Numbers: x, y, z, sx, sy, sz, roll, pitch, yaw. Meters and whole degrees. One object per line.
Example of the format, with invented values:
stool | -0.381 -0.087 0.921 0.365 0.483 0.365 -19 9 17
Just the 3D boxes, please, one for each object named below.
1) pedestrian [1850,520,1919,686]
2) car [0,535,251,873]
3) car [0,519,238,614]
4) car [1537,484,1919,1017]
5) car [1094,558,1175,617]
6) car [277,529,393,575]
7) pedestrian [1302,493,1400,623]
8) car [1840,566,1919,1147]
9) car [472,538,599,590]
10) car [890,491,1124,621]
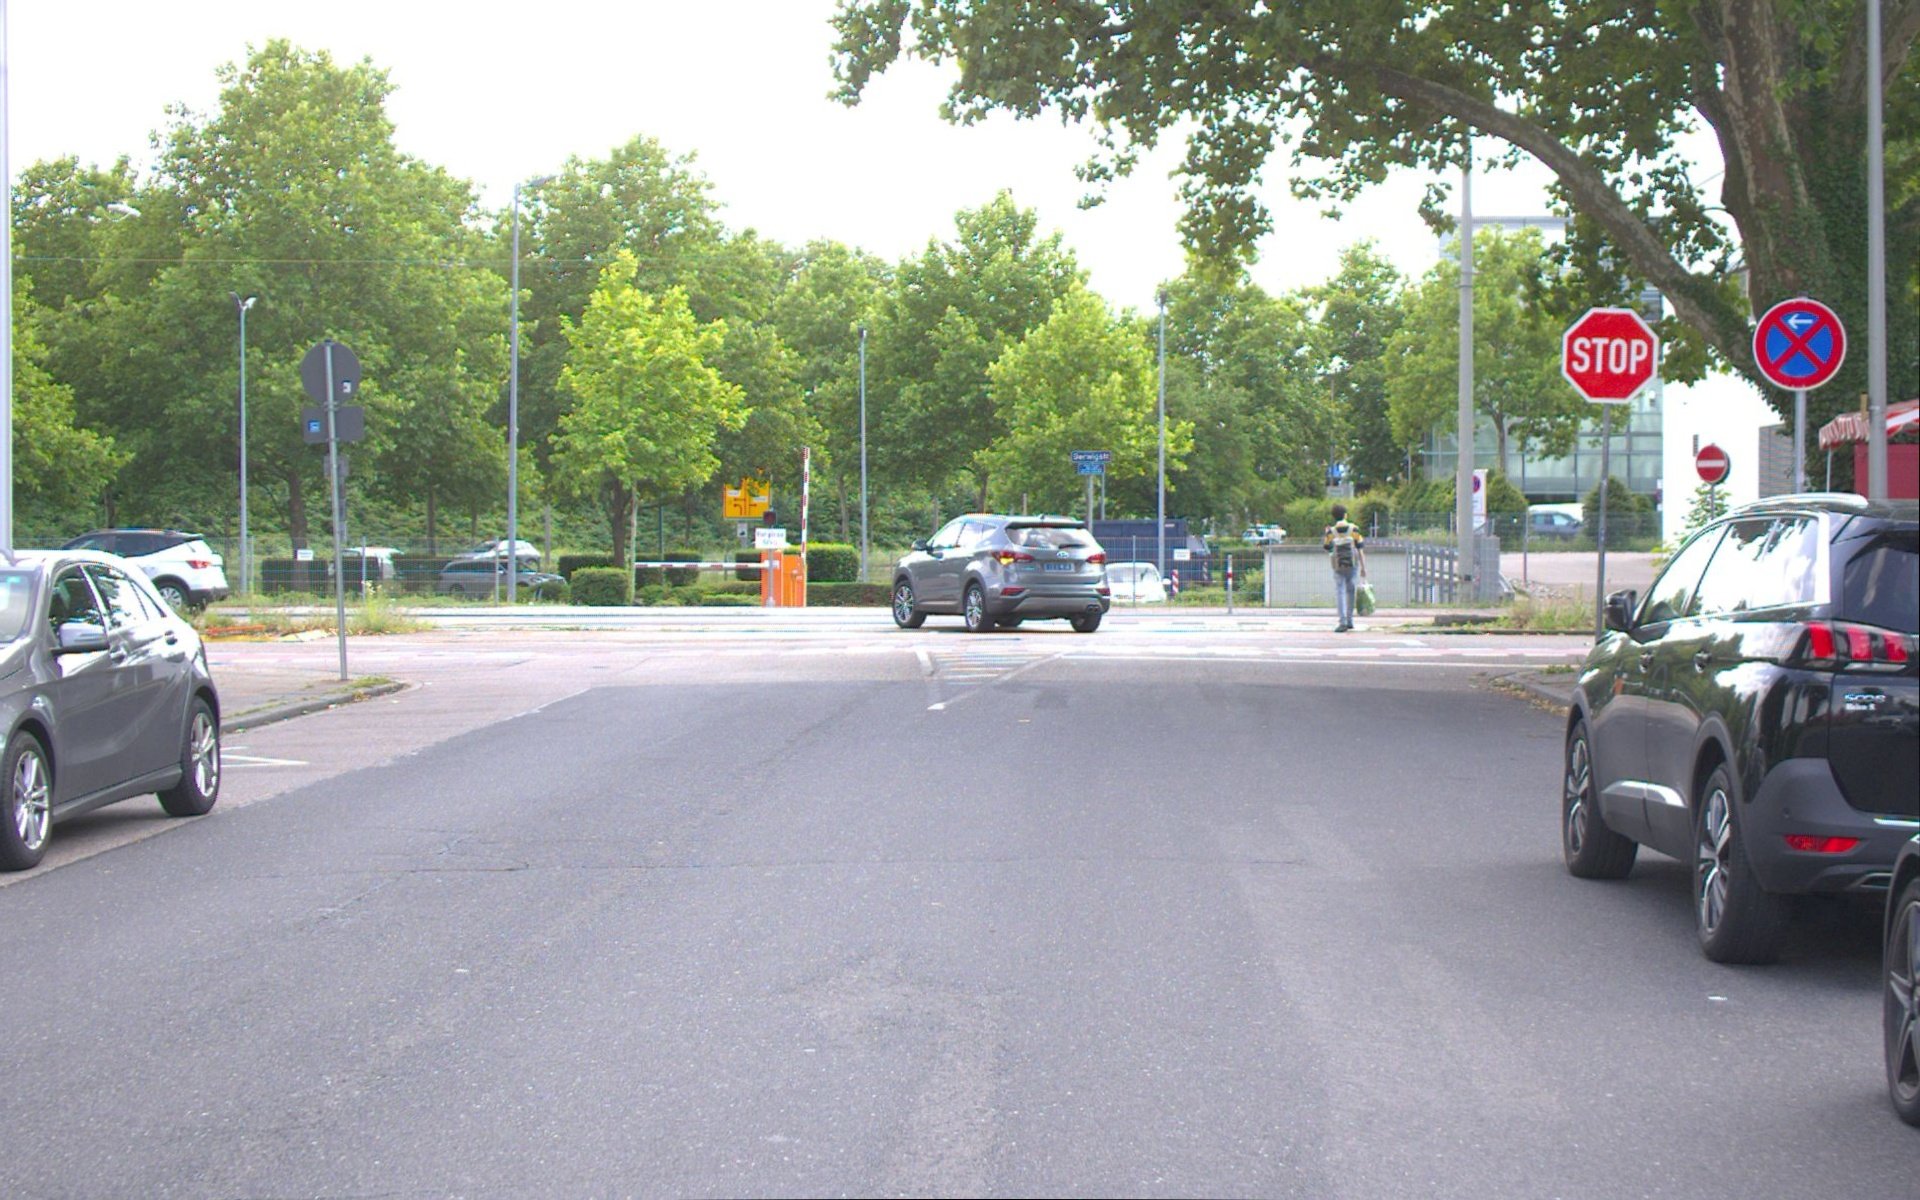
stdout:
pedestrian | 7.753 0.019 27.761 1.014 1.309 0.964 1 1 11
car | -4.857 0.445 16.475 1.710 1.415 4.331 -2 1 4
car | -14.618 -0.579 58.613 4.220 1.574 1.924 0 1 1
car | 3.497 0.441 13.138 1.808 1.659 4.640 3 2 1
car | 4.305 -0.333 84.511 1.931 1.398 4.080 0 1 3
car | -24.010 -1.835 132.216 1.918 1.715 4.291 1 1 35
pedestrian | 5.631 -0.604 49.613 1.000 1.843 1.230 0 1 -15
car | 3.165 0.705 6.921 1.808 1.386 4.588 3 2 4
car | -14.380 -1.238 116.337 3.995 1.696 1.906 1 1 34
car | 0.630 -0.670 49.983 1.961 1.809 4.277 0 2 -21
